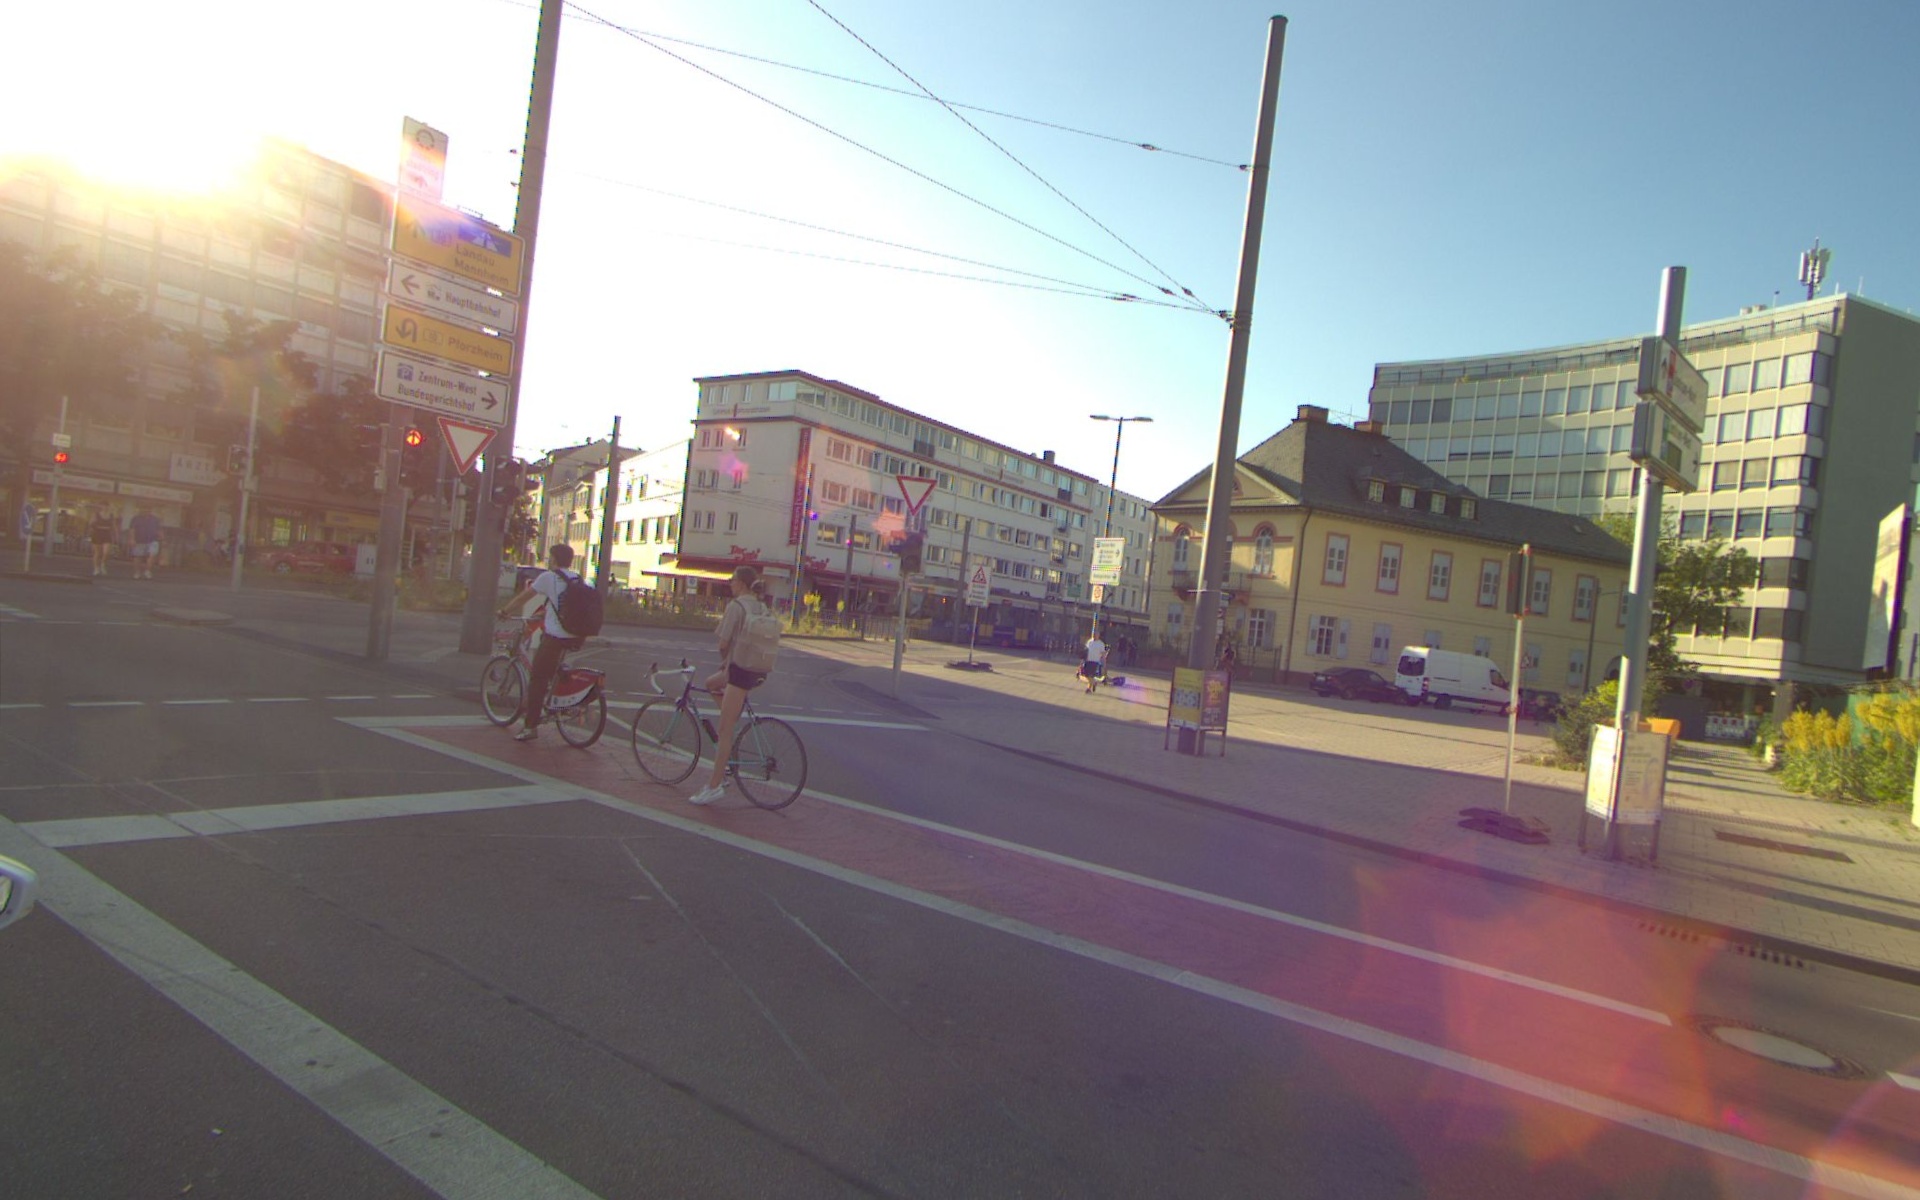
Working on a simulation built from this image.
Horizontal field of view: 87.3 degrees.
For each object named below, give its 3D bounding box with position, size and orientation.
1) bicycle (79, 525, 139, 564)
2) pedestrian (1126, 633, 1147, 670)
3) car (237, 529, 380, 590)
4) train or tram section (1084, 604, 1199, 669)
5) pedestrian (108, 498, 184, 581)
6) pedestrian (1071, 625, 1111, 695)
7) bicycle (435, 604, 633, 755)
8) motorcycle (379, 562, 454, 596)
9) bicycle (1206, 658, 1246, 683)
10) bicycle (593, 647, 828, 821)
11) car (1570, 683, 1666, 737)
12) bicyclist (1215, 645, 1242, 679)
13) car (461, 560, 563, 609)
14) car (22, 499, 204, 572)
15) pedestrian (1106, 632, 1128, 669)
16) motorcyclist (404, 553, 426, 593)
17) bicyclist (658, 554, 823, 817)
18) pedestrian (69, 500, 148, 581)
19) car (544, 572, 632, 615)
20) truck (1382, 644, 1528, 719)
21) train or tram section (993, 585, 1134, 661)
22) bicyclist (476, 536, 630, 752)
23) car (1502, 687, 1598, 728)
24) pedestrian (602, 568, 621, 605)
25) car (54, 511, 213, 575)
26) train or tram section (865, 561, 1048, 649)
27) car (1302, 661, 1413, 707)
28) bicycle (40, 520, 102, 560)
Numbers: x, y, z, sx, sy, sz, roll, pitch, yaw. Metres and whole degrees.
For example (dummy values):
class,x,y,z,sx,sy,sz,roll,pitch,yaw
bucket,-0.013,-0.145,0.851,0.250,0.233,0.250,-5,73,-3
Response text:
class,x,y,z,sx,sy,sz,roll,pitch,yaw
bicycle,-33.792,-2.192,39.940,2.594,1.157,0.751,9,0,26
pedestrian,8.402,2.457,47.906,0.802,1.661,0.687,7,-1,12
car,-24.339,-1.482,37.679,1.816,1.636,3.990,6,-3,36
train or tram section,14.790,3.053,80.579,3.658,3.877,12.950,6,-3,35
pedestrian,-19.571,-1.431,24.207,1.024,1.814,0.697,7,-1,-6
pedestrian,3.565,1.629,27.225,0.746,1.783,1.009,7,-1,16
bicycle,-3.892,0.702,9.152,1.777,1.113,0.543,6,-1,27
motorcycle,-22.131,-0.831,41.030,0.527,1.012,2.664,6,-3,36
bicycle,12.475,3.313,47.159,1.976,0.959,0.717,9,-2,-38
bicycle,-1.887,0.965,7.544,1.664,1.013,0.543,6,-1,27
car,31.310,5.222,47.872,3.706,2.003,1.709,8,-2,-17
bicyclist,12.605,2.923,47.235,0.891,1.474,0.717,8,-2,-38
car,-19.898,-0.657,44.896,1.809,1.636,4.004,6,-2,18
car,-26.782,-2.009,31.929,1.816,1.636,3.990,6,-3,36
pedestrian,7.494,2.388,47.909,0.802,1.661,0.687,7,-1,15
motorcyclist,-22.176,-1.100,40.931,0.527,1.526,0.460,6,-1,37
bicyclist,-1.601,0.608,7.386,0.778,1.766,0.615,6,-1,27
pedestrian,-19.782,-1.376,23.400,1.024,1.702,0.697,7,-1,-6
car,-18.421,-0.280,49.993,1.810,1.636,4.004,6,-2,20
truck,21.984,3.630,44.705,5.556,2.578,2.294,8,-2,-17
train or tram section,7.489,1.782,70.041,3.658,3.877,12.951,6,-3,35
bicyclist,-3.671,0.387,9.079,1.042,1.788,0.543,6,-1,27
car,27.251,4.959,46.485,3.706,1.380,1.709,8,-2,-17
pedestrian,-20.243,-0.773,58.433,0.622,2.037,0.708,8,-1,-37
car,-30.182,-2.063,36.858,1.816,1.636,4.071,6,-3,36
train or tram section,0.214,0.494,59.246,3.656,3.879,13.326,6,-1,34
car,16.774,3.555,42.491,4.133,1.380,1.709,8,-2,-17
bicycle,-34.371,-2.320,38.895,2.594,1.157,0.751,9,0,26
